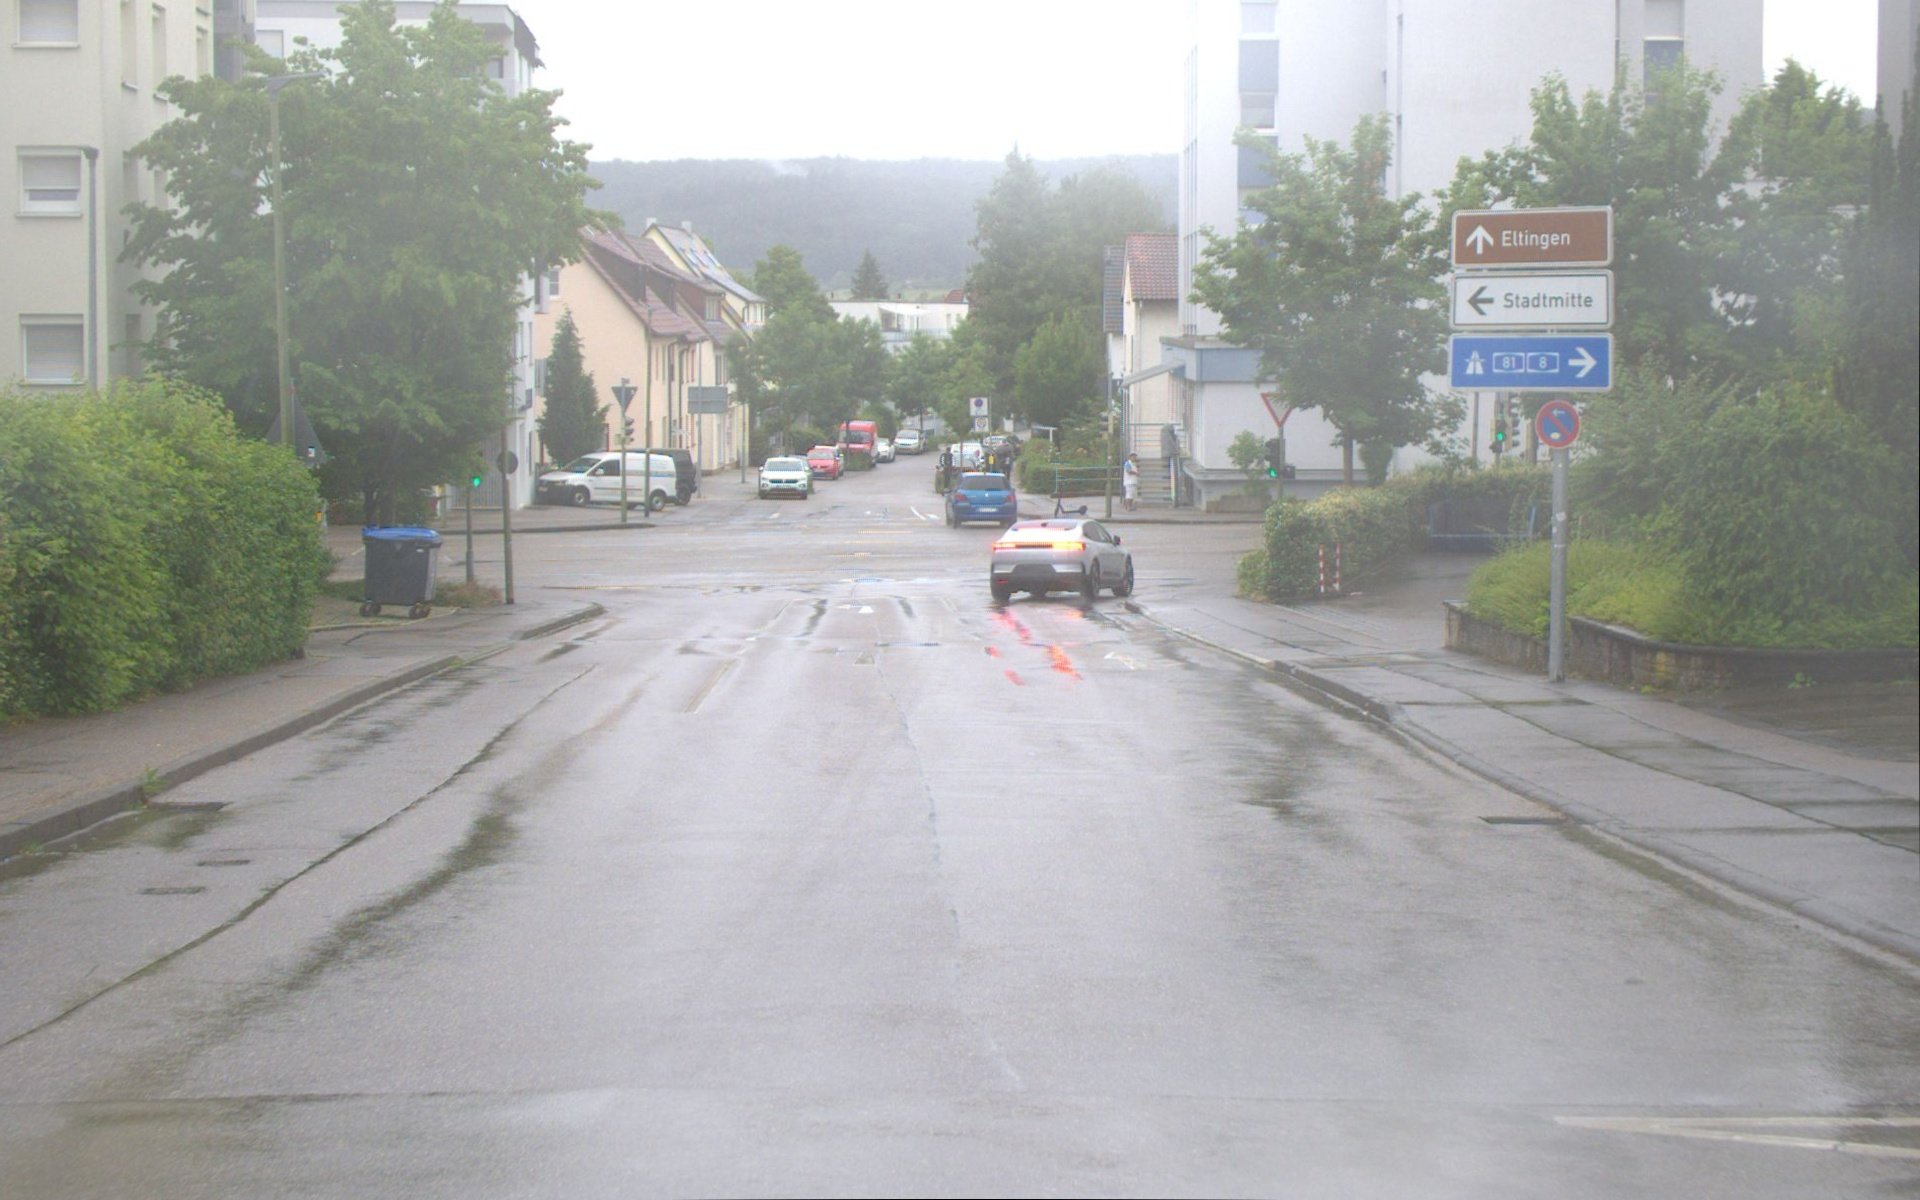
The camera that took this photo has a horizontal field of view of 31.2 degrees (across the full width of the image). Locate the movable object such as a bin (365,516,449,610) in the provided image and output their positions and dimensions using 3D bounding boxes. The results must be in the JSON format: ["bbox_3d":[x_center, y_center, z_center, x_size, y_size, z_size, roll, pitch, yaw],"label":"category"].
[{"bbox_3d":[-8.180,-0.563,50.914,1.071,1.343,1.319,1,1,-3],"label":"movable object such as a bin"}]

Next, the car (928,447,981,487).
[{"bbox_3d":[-0.234,-5.620,144.924,2.146,1.583,4.129,-1,3,0],"label":"car"}]

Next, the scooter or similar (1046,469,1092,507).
[{"bbox_3d":[3.225,-3.328,101.984,1.268,1.077,0.877,-1,3,-5],"label":"scooter or similar"}]

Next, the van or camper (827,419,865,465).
[{"bbox_3d":[-6.284,-8.745,189.890,1.901,2.504,4.239,-1,3,0],"label":"van or camper"}]

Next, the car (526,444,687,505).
[{"bbox_3d":[-11.386,-4.071,111.011,4.830,1.829,1.999,-3,4,-39],"label":"car"}]

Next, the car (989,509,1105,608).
[{"bbox_3d":[1.677,-0.811,65.231,1.994,1.678,4.000,-1,3,4],"label":"car"}]

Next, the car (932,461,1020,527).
[{"bbox_3d":[0.415,-2.931,94.292,1.993,1.678,4.001,-1,3,-6],"label":"car"}]

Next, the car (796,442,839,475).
[{"bbox_3d":[-6.945,-6.896,167.639,1.901,1.553,4.192,-1,3,0],"label":"car"}]

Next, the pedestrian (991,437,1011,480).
[{"bbox_3d":[1.783,-6.172,149.615,0.745,1.842,0.526,-2,2,-7],"label":"pedestrian"}]

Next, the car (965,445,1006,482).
[{"bbox_3d":[1.207,-6.636,166.767,1.901,1.739,4.192,-1,3,0],"label":"car"}]

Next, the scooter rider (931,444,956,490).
[{"bbox_3d":[-0.660,-5.265,135.907,0.752,1.789,0.673,-2,3,-25],"label":"scooter rider"}]

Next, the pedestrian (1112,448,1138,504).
[{"bbox_3d":[4.961,-3.721,103.364,0.647,1.641,0.526,2,2,-7],"label":"pedestrian"}]

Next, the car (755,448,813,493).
[{"bbox_3d":[-6.710,-4.955,131.217,1.993,1.620,4.192,-1,3,0],"label":"car"}]

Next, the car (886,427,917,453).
[{"bbox_3d":[-3.690,-10.136,217.832,1.901,1.553,4.192,-1,3,0],"label":"car"}]
